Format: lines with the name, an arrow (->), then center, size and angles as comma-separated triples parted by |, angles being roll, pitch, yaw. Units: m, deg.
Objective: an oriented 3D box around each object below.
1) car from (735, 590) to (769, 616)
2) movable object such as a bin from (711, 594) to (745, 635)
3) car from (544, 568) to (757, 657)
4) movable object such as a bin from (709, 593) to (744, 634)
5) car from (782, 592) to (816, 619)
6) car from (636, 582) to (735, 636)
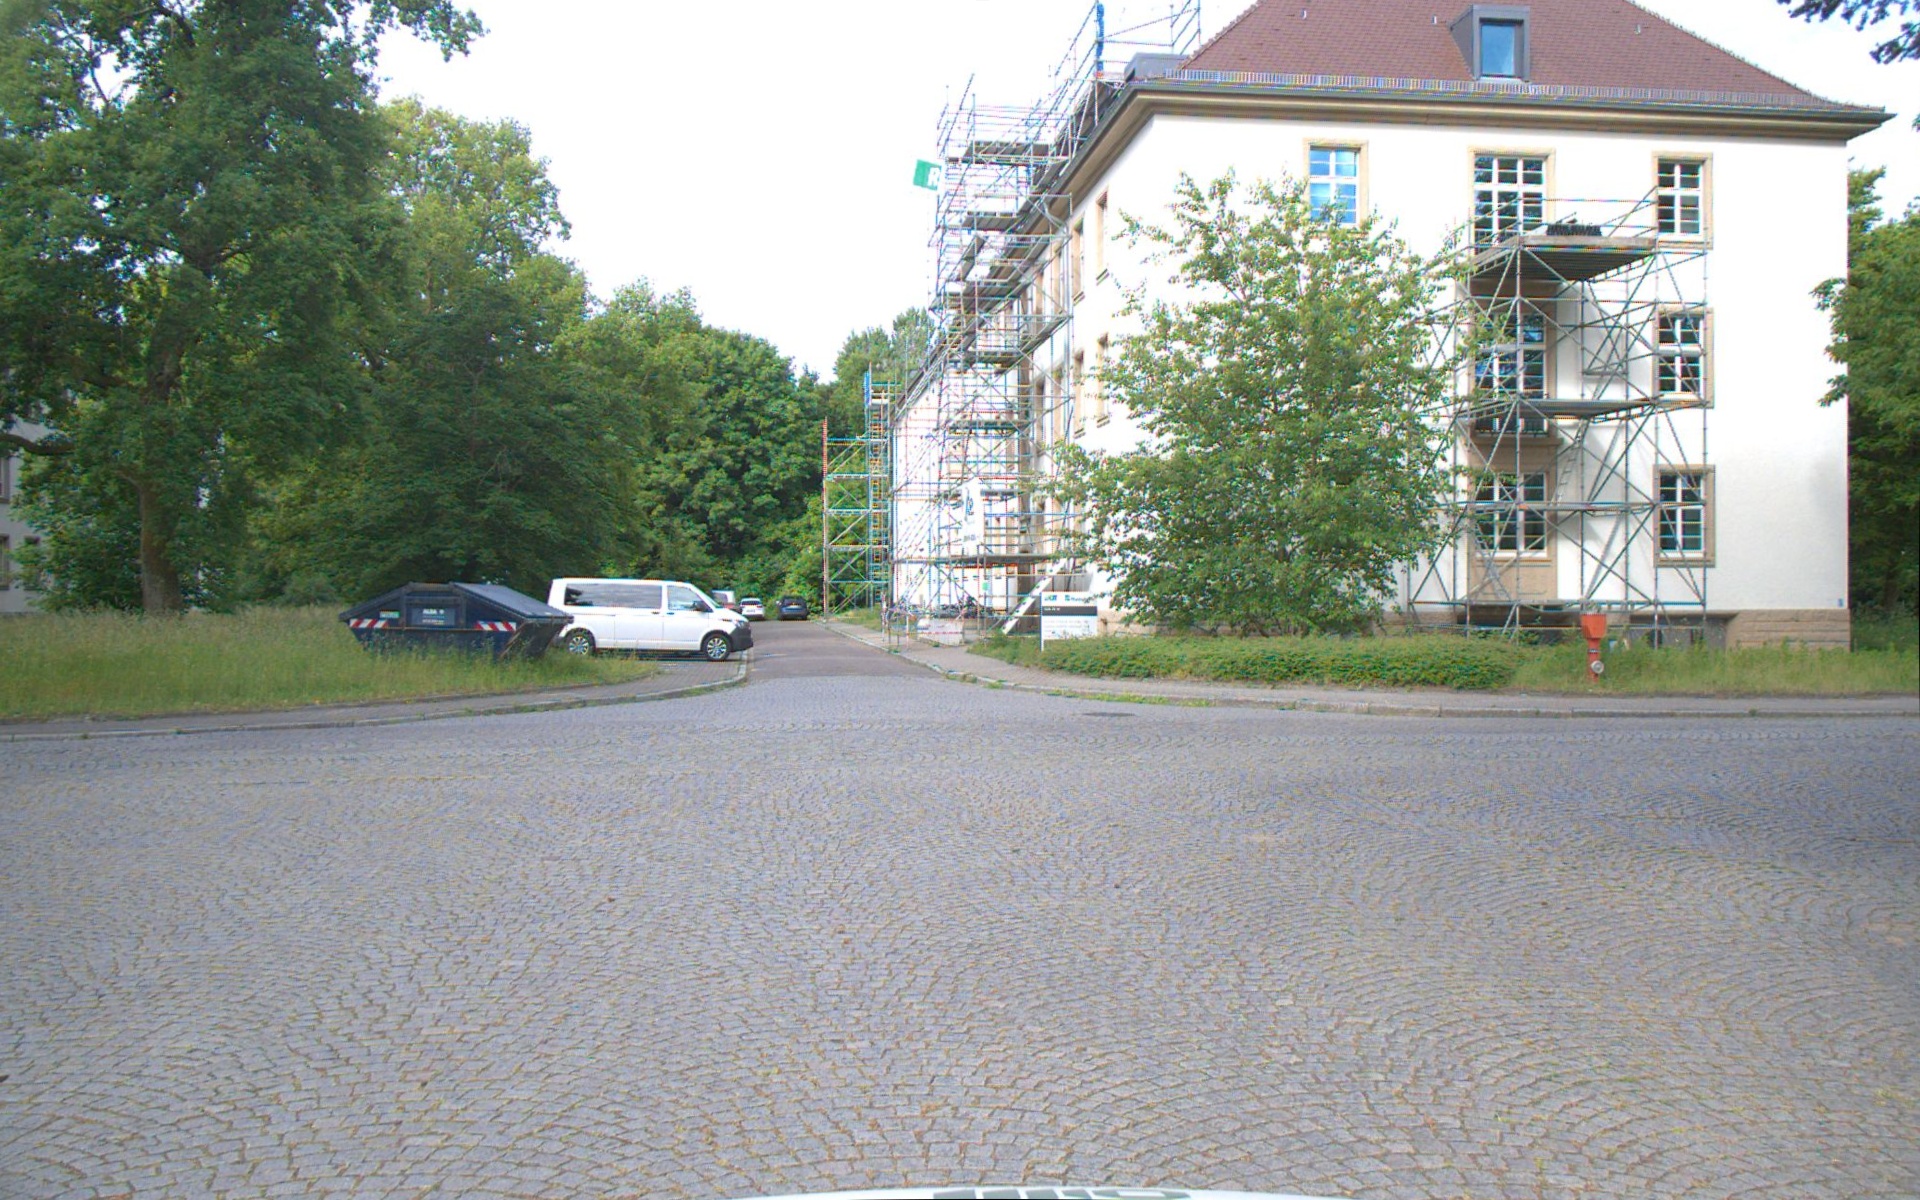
car -> -13.513, 0.243, 107.212 | 1.965, 1.575, 3.949 | 2, -1, -10
movable object such as a bin -> -8.572, 0.534, 61.086 | 1.161, 1.432, 0.974 | 2, -1, -7
car -> -7.690, 0.331, 41.535 | 5.103, 2.096, 2.184 | 1, -1, -8
movable object such as a bin -> -8.460, 0.501, 59.979 | 1.161, 1.432, 0.974 | 2, -1, -7
car -> -10.481, 0.356, 107.959 | 2.023, 1.621, 3.996 | 2, -1, -5
car -> -11.410, 0.381, 68.731 | 3.916, 2.049, 1.916 | 2, -1, -12
